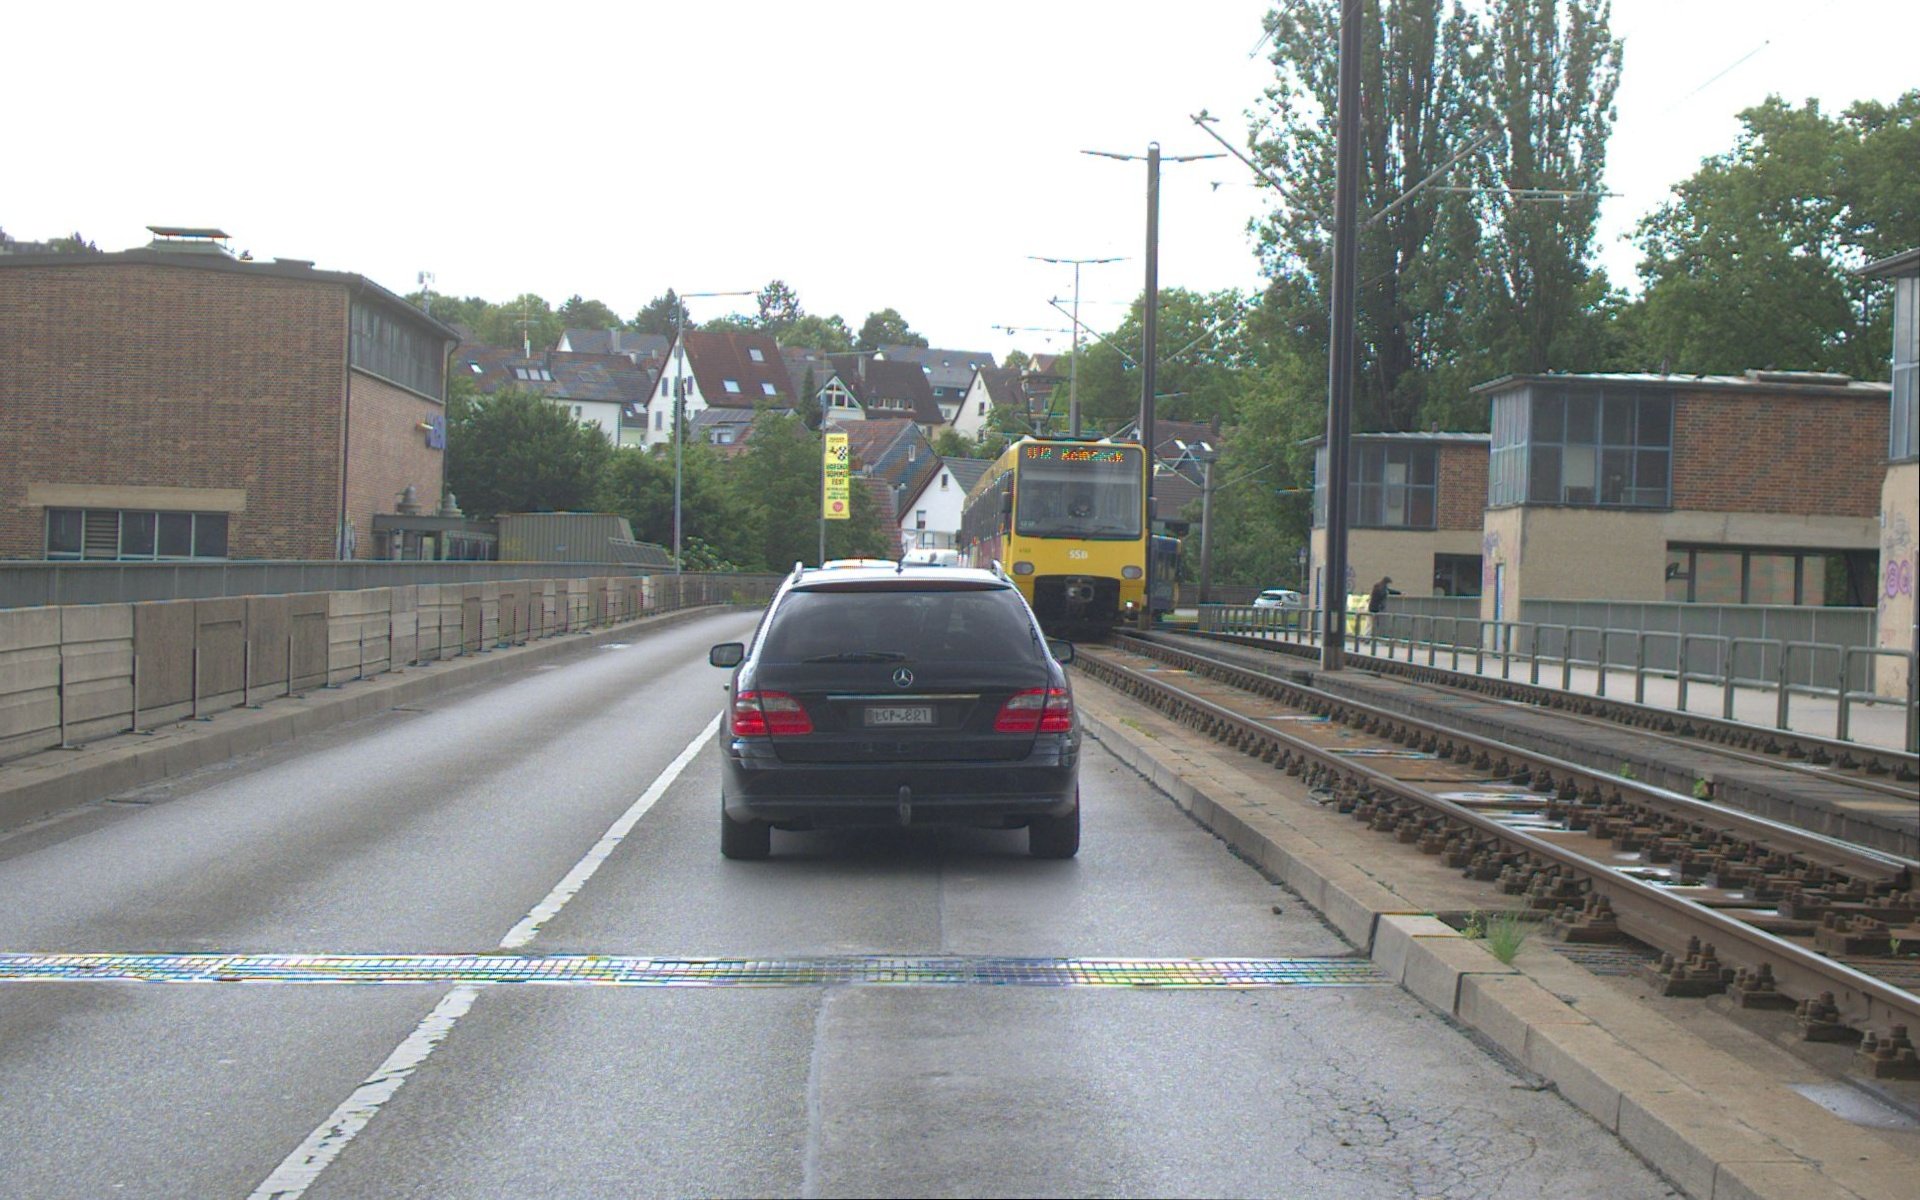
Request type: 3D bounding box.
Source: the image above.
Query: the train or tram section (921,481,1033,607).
[{"bbox_3d":[0.389,-1.620,109.168,2.784,3.643,19.894,0,0,-2],"label":"train or tram section"}]

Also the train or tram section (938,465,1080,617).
[{"bbox_3d":[1.096,-1.475,89.920,2.829,3.568,18.668,0,1,-2],"label":"train or tram section"}]

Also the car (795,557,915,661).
[{"bbox_3d":[-1.719,0.116,55.230,1.770,1.550,4.241,1,1,-3],"label":"car"}]

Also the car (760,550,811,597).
[{"bbox_3d":[-6.148,-0.950,121.428,1.715,1.640,4.000,0,1,-2],"label":"car"}]

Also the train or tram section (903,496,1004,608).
[{"bbox_3d":[-0.389,-1.671,129.095,2.793,3.751,19.894,2,0,-2],"label":"train or tram section"}]

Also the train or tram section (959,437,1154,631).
[{"bbox_3d":[1.735,-1.285,71.184,2.882,3.497,18.668,0,1,-2],"label":"train or tram section"}]

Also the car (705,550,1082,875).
[{"bbox_3d":[-0.305,0.506,18.374,1.759,1.510,4.442,1,1,0],"label":"car"}]

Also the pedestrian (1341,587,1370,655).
[{"bbox_3d":[9.550,0.506,82.986,0.577,1.604,0.613,1,0,-1],"label":"pedestrian"}]
